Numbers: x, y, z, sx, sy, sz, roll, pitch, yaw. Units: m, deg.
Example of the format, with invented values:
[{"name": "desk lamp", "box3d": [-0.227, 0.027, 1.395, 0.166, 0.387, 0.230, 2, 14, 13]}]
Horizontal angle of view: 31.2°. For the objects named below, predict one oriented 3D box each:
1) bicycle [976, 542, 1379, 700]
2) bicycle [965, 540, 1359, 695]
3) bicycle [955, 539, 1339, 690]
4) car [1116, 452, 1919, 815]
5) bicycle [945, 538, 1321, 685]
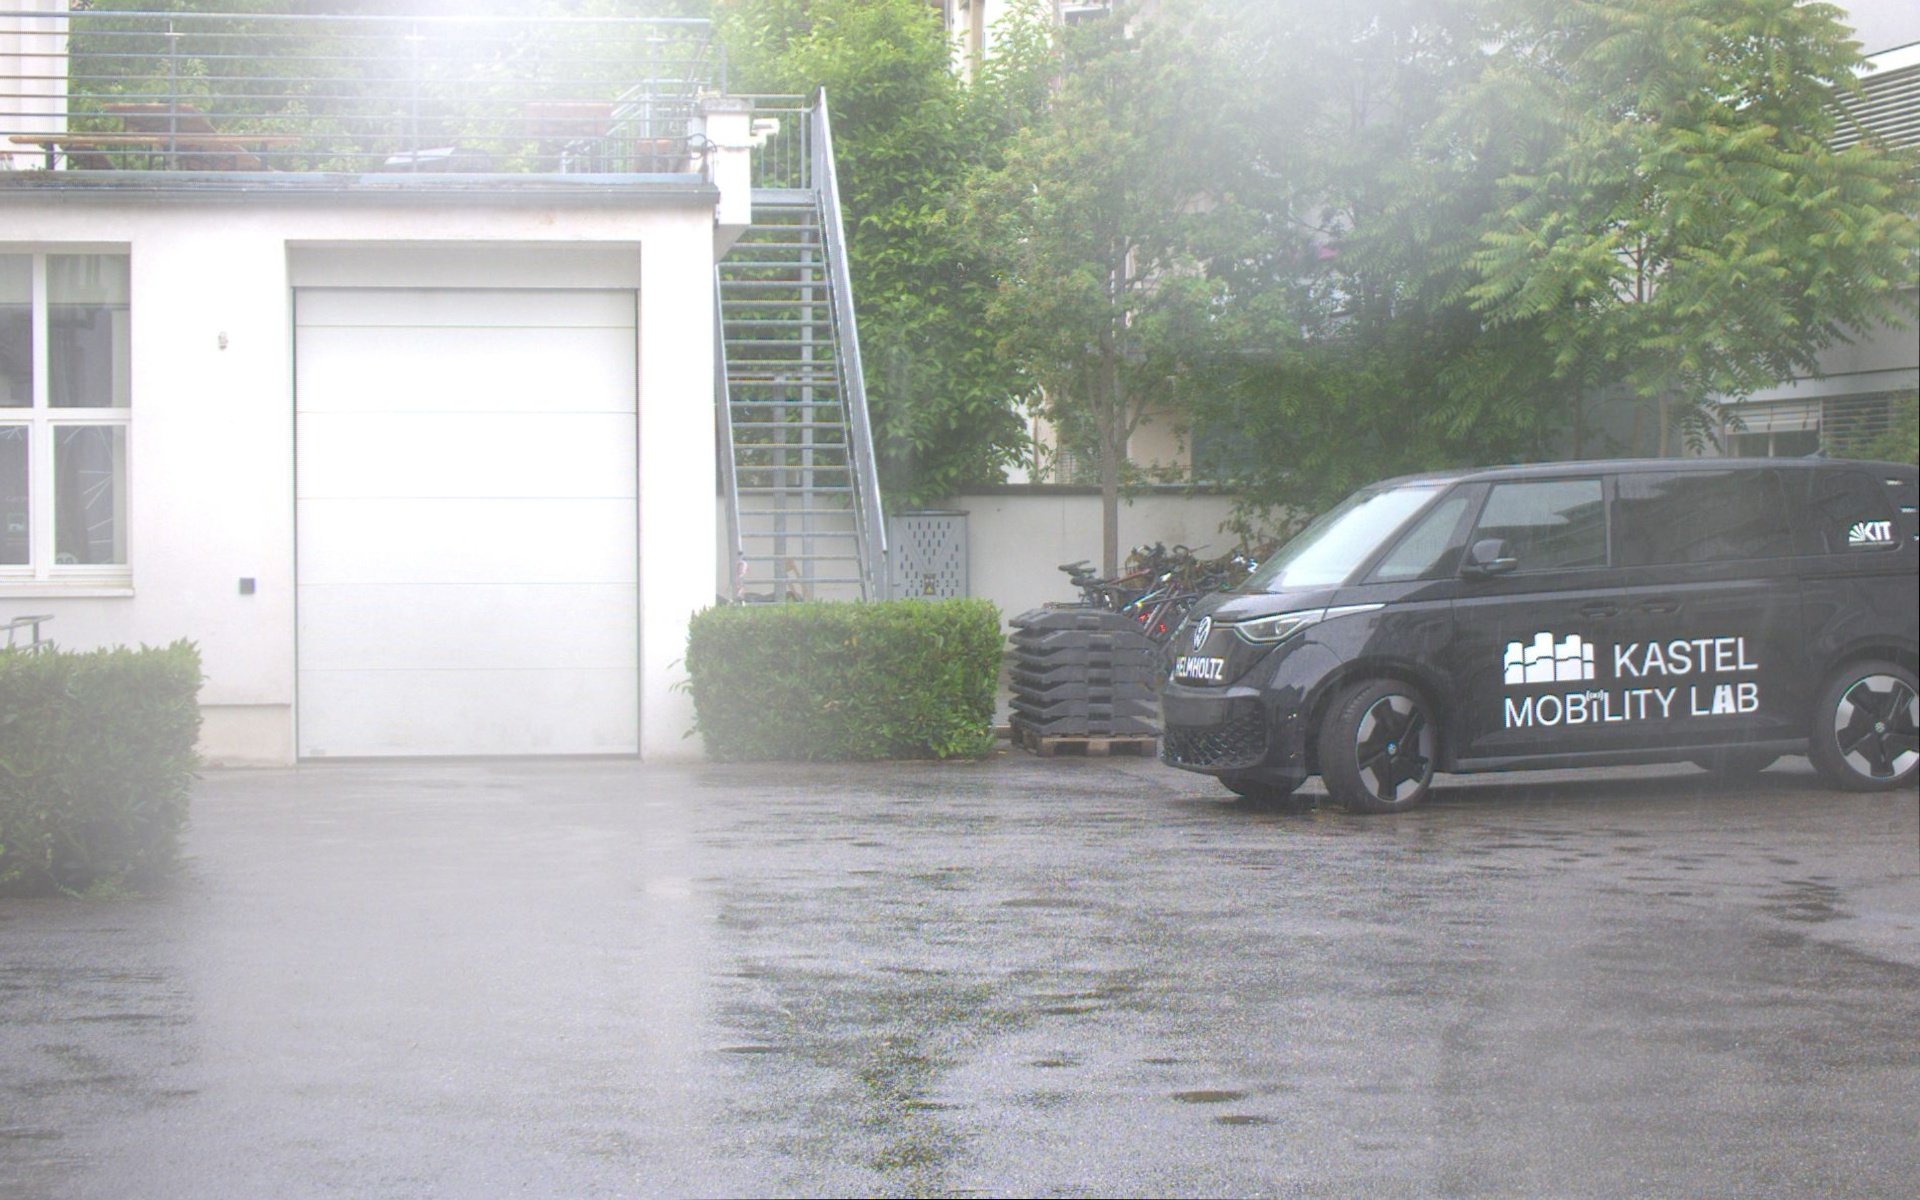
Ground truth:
[{"name": "bicycle", "box3d": [1.772, 0.161, 28.056, 3.213, 1.237, 0.631, -1, 0, -10]}, {"name": "bicycle", "box3d": [1.688, 0.137, 28.751, 3.213, 1.237, 0.631, -1, 0, -10]}, {"name": "bicycle", "box3d": [1.600, 0.114, 29.418, 3.213, 1.237, 0.631, -1, 0, -10]}, {"name": "car", "box3d": [3.360, 0.141, 19.589, 4.506, 1.891, 2.047, -1, 1, -16]}, {"name": "bicycle", "box3d": [1.509, 0.091, 30.064, 3.213, 1.237, 0.631, -1, 0, -10]}]
